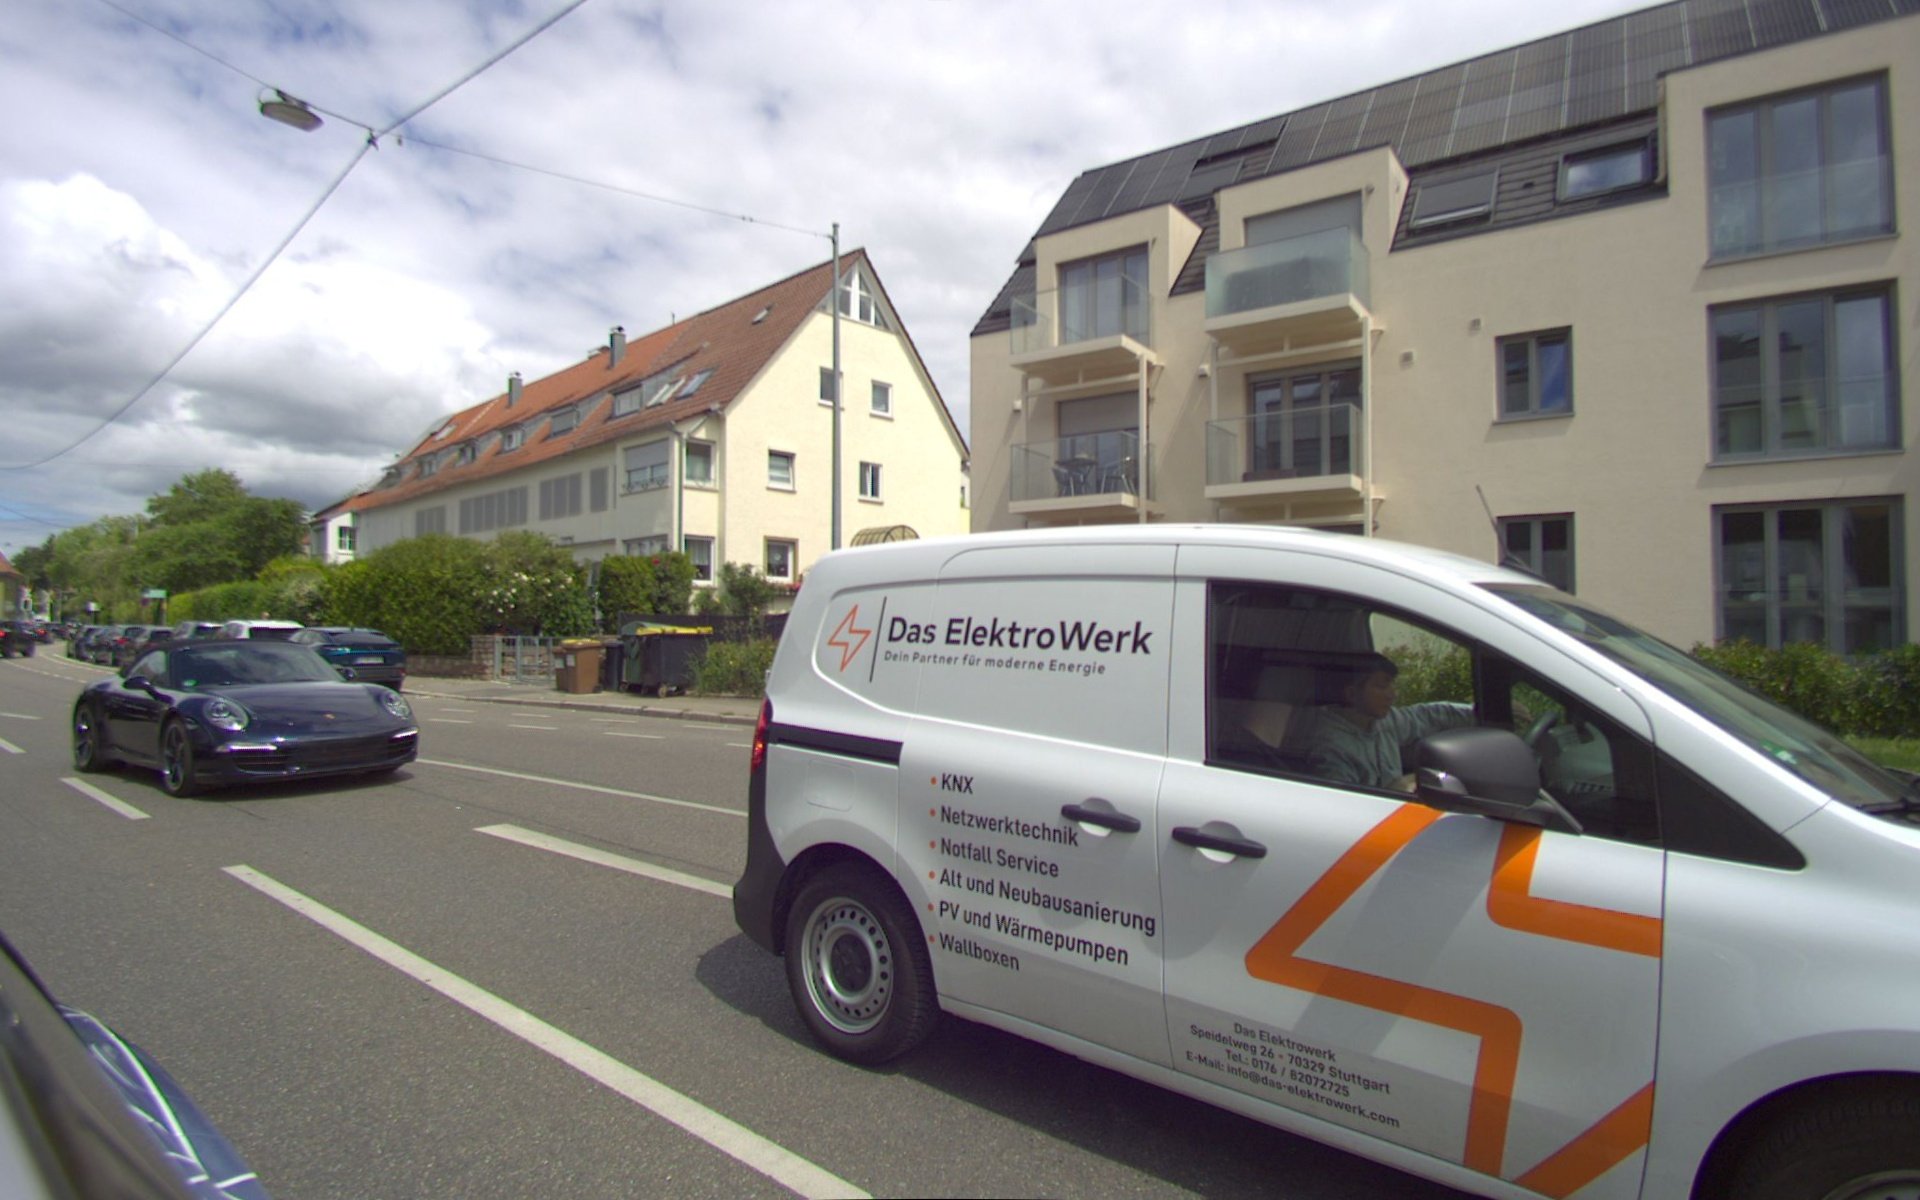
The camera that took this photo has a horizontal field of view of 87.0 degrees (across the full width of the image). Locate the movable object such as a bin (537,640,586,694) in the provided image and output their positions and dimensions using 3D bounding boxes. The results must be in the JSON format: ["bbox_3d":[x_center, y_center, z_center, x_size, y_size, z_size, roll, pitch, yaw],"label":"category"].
[{"bbox_3d":[-8.297,1.389,21.082,0.752,1.073,0.693,1,-2,-42],"label":"movable object such as a bin"}]

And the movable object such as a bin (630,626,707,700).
[{"bbox_3d":[-5.625,1.190,19.554,0.980,1.373,1.078,-1,-2,41],"label":"movable object such as a bin"}]

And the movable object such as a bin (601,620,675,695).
[{"bbox_3d":[-6.480,1.137,20.392,0.980,1.457,1.078,-1,-2,41],"label":"movable object such as a bin"}]

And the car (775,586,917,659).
[{"bbox_3d":[-3.337,0.660,30.160,1.999,2.029,3.946,-1,-1,40],"label":"car"}]

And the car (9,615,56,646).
[{"bbox_3d":[-61.433,1.996,67.062,1.968,1.929,4.077,1,-1,-38],"label":"car"}]

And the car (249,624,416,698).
[{"bbox_3d":[-14.177,1.294,22.788,4.447,1.513,1.796,-1,-2,38],"label":"car"}]

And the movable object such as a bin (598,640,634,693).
[{"bbox_3d":[-7.156,1.382,21.047,0.516,1.073,0.656,0,-1,2],"label":"movable object such as a bin"}]

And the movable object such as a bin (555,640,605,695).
[{"bbox_3d":[-7.727,1.361,20.595,0.752,1.073,0.693,1,-2,-42],"label":"movable object such as a bin"}]

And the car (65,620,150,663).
[{"bbox_3d":[-34.616,1.633,41.071,4.234,1.645,1.973,-1,-2,41],"label":"car"}]

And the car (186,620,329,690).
[{"bbox_3d":[-18.073,1.342,25.955,4.450,1.645,1.973,-1,-2,41],"label":"car"}]

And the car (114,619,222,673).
[{"bbox_3d":[-25.971,1.489,33.153,4.234,1.645,1.973,-1,-3,41],"label":"car"}]

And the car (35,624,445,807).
[{"bbox_3d":[-6.860,0.920,9.554,4.032,1.374,1.796,-1,-1,33],"label":"car"}]

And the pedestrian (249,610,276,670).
[{"bbox_3d":[-21.469,1.227,31.161,0.511,1.829,0.526,-1,-2,36],"label":"pedestrian"}]

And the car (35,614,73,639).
[{"bbox_3d":[-70.977,2.076,79.306,1.968,1.929,4.077,1,-1,-38],"label":"car"}]

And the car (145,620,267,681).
[{"bbox_3d":[-22.038,1.411,29.521,4.234,1.645,1.973,-1,-2,41],"label":"car"}]

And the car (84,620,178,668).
[{"bbox_3d":[-30.247,1.573,36.892,4.234,1.645,1.973,-1,-2,41],"label":"car"}]

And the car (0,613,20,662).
[{"bbox_3d":[-40.024,1.519,41.408,4.069,1.929,1.972,-1,-2,43],"label":"car"}]

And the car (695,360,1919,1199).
[{"bbox_3d":[1.277,0.543,3.080,4.414,1.825,1.798,-1,-1,39],"label":"car"}]
